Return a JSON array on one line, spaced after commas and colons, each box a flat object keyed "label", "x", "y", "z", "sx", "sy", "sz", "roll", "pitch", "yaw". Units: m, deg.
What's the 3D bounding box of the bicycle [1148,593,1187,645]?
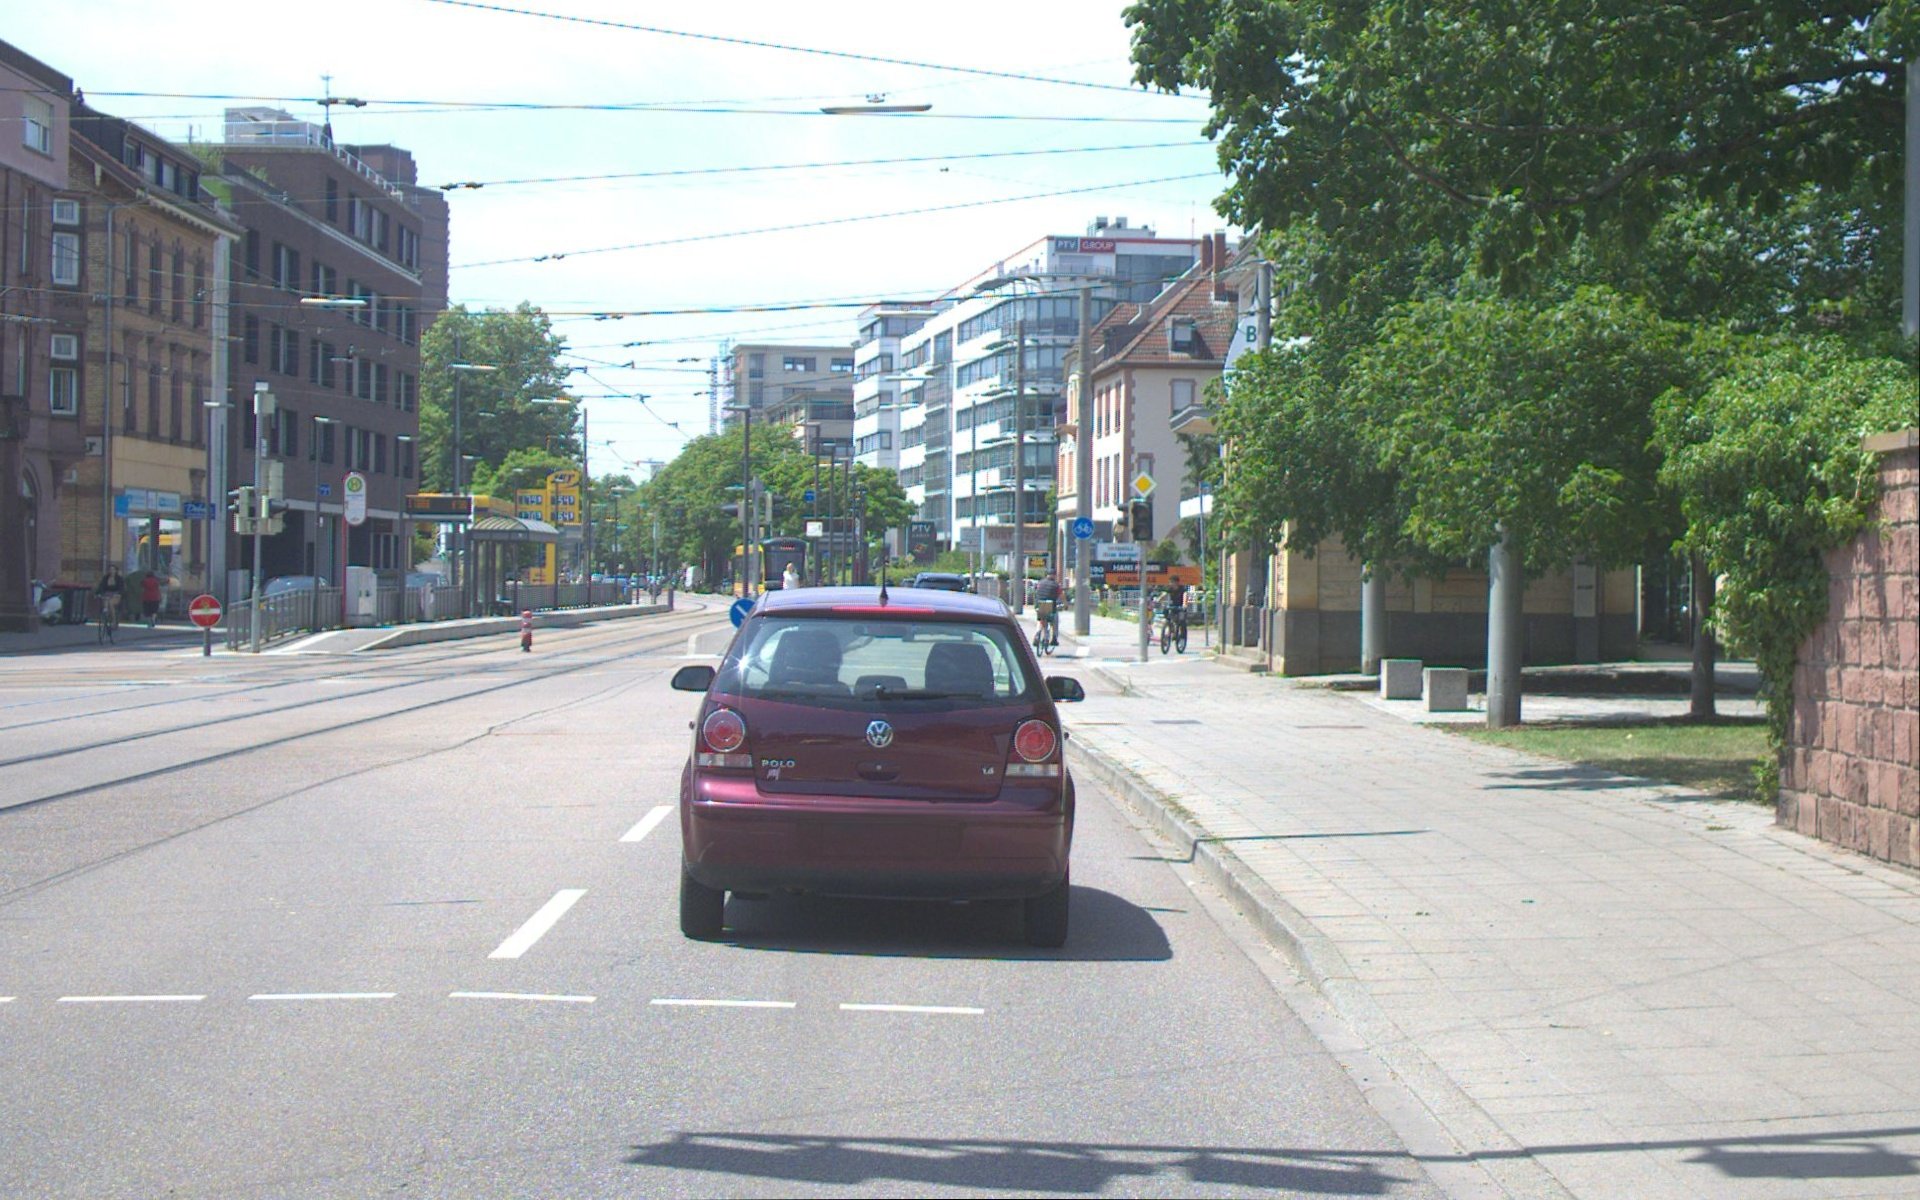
[{"label": "bicycle", "x": 4.343, "y": 0.386, "z": 72.020, "sx": 0.668, "sy": 0.999, "sz": 1.864, "roll": -3, "pitch": 1, "yaw": 0}]

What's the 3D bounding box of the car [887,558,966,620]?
[{"label": "car", "x": -0.879, "y": -0.311, "z": 93.259, "sx": 1.993, "sy": 1.619, "sz": 4.631, "roll": 1, "pitch": 0, "yaw": 1}]

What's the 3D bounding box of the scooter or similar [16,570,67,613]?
[{"label": "scooter or similar", "x": -23.144, "y": -0.215, "z": 86.607, "sx": 0.488, "sy": 1.078, "sz": 1.575, "roll": 1, "pitch": 1, "yaw": 17}]

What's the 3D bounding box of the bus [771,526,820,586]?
[{"label": "bus", "x": -8.416, "y": -2.252, "z": 176.472, "sx": 2.233, "sy": 2.993, "sz": 6.594, "roll": 1, "pitch": 0, "yaw": 0}]

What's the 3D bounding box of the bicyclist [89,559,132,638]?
[{"label": "bicyclist", "x": -19.250, "y": -0.041, "z": 77.938, "sx": 0.732, "sy": 1.756, "sz": 1.135, "roll": 1, "pitch": 1, "yaw": -2}]

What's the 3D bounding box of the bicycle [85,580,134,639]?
[{"label": "bicycle", "x": -19.251, "y": 0.200, "z": 77.845, "sx": 0.676, "sy": 1.300, "sz": 2.105, "roll": 1, "pitch": 1, "yaw": -3}]

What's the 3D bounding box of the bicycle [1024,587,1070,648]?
[{"label": "bicycle", "x": 1.775, "y": 0.351, "z": 69.991, "sx": 0.376, "sy": 1.193, "sz": 1.903, "roll": 1, "pitch": 1, "yaw": 19}]

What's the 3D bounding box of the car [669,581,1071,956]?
[{"label": "car", "x": -0.376, "y": 0.653, "z": 15.017, "sx": 1.561, "sy": 1.448, "sz": 3.062, "roll": 1, "pitch": 0, "yaw": -1}]

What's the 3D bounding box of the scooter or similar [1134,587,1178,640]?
[{"label": "scooter or similar", "x": 4.485, "y": 0.307, "z": 78.714, "sx": 0.339, "sy": 1.174, "sz": 1.468, "roll": 1, "pitch": 0, "yaw": -24}]

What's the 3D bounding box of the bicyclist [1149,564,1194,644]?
[{"label": "bicyclist", "x": 4.423, "y": 0.083, "z": 71.942, "sx": 0.832, "sy": 1.612, "sz": 0.860, "roll": -3, "pitch": 1, "yaw": 0}]

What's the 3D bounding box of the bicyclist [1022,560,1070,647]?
[{"label": "bicyclist", "x": 1.758, "y": 0.056, "z": 70.110, "sx": 0.728, "sy": 1.754, "sz": 0.923, "roll": 1, "pitch": 1, "yaw": 19}]

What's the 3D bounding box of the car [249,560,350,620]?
[{"label": "car", "x": -16.486, "y": -0.262, "z": 85.965, "sx": 1.709, "sy": 1.434, "sz": 3.865, "roll": 1, "pitch": 1, "yaw": 1}]

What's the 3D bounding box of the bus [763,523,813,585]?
[{"label": "bus", "x": -8.462, "y": -2.241, "z": 169.897, "sx": 2.145, "sy": 2.993, "sz": 6.574, "roll": 1, "pitch": 0, "yaw": 0}]

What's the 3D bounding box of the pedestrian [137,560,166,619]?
[{"label": "pedestrian", "x": -21.291, "y": -0.283, "z": 90.557, "sx": 0.614, "sy": 1.555, "sz": 0.640, "roll": 0, "pitch": 1, "yaw": -1}]

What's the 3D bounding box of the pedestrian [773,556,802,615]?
[{"label": "pedestrian", "x": -4.902, "y": -0.422, "z": 97.717, "sx": 0.763, "sy": 1.669, "sz": 1.100, "roll": 1, "pitch": 0, "yaw": 1}]
